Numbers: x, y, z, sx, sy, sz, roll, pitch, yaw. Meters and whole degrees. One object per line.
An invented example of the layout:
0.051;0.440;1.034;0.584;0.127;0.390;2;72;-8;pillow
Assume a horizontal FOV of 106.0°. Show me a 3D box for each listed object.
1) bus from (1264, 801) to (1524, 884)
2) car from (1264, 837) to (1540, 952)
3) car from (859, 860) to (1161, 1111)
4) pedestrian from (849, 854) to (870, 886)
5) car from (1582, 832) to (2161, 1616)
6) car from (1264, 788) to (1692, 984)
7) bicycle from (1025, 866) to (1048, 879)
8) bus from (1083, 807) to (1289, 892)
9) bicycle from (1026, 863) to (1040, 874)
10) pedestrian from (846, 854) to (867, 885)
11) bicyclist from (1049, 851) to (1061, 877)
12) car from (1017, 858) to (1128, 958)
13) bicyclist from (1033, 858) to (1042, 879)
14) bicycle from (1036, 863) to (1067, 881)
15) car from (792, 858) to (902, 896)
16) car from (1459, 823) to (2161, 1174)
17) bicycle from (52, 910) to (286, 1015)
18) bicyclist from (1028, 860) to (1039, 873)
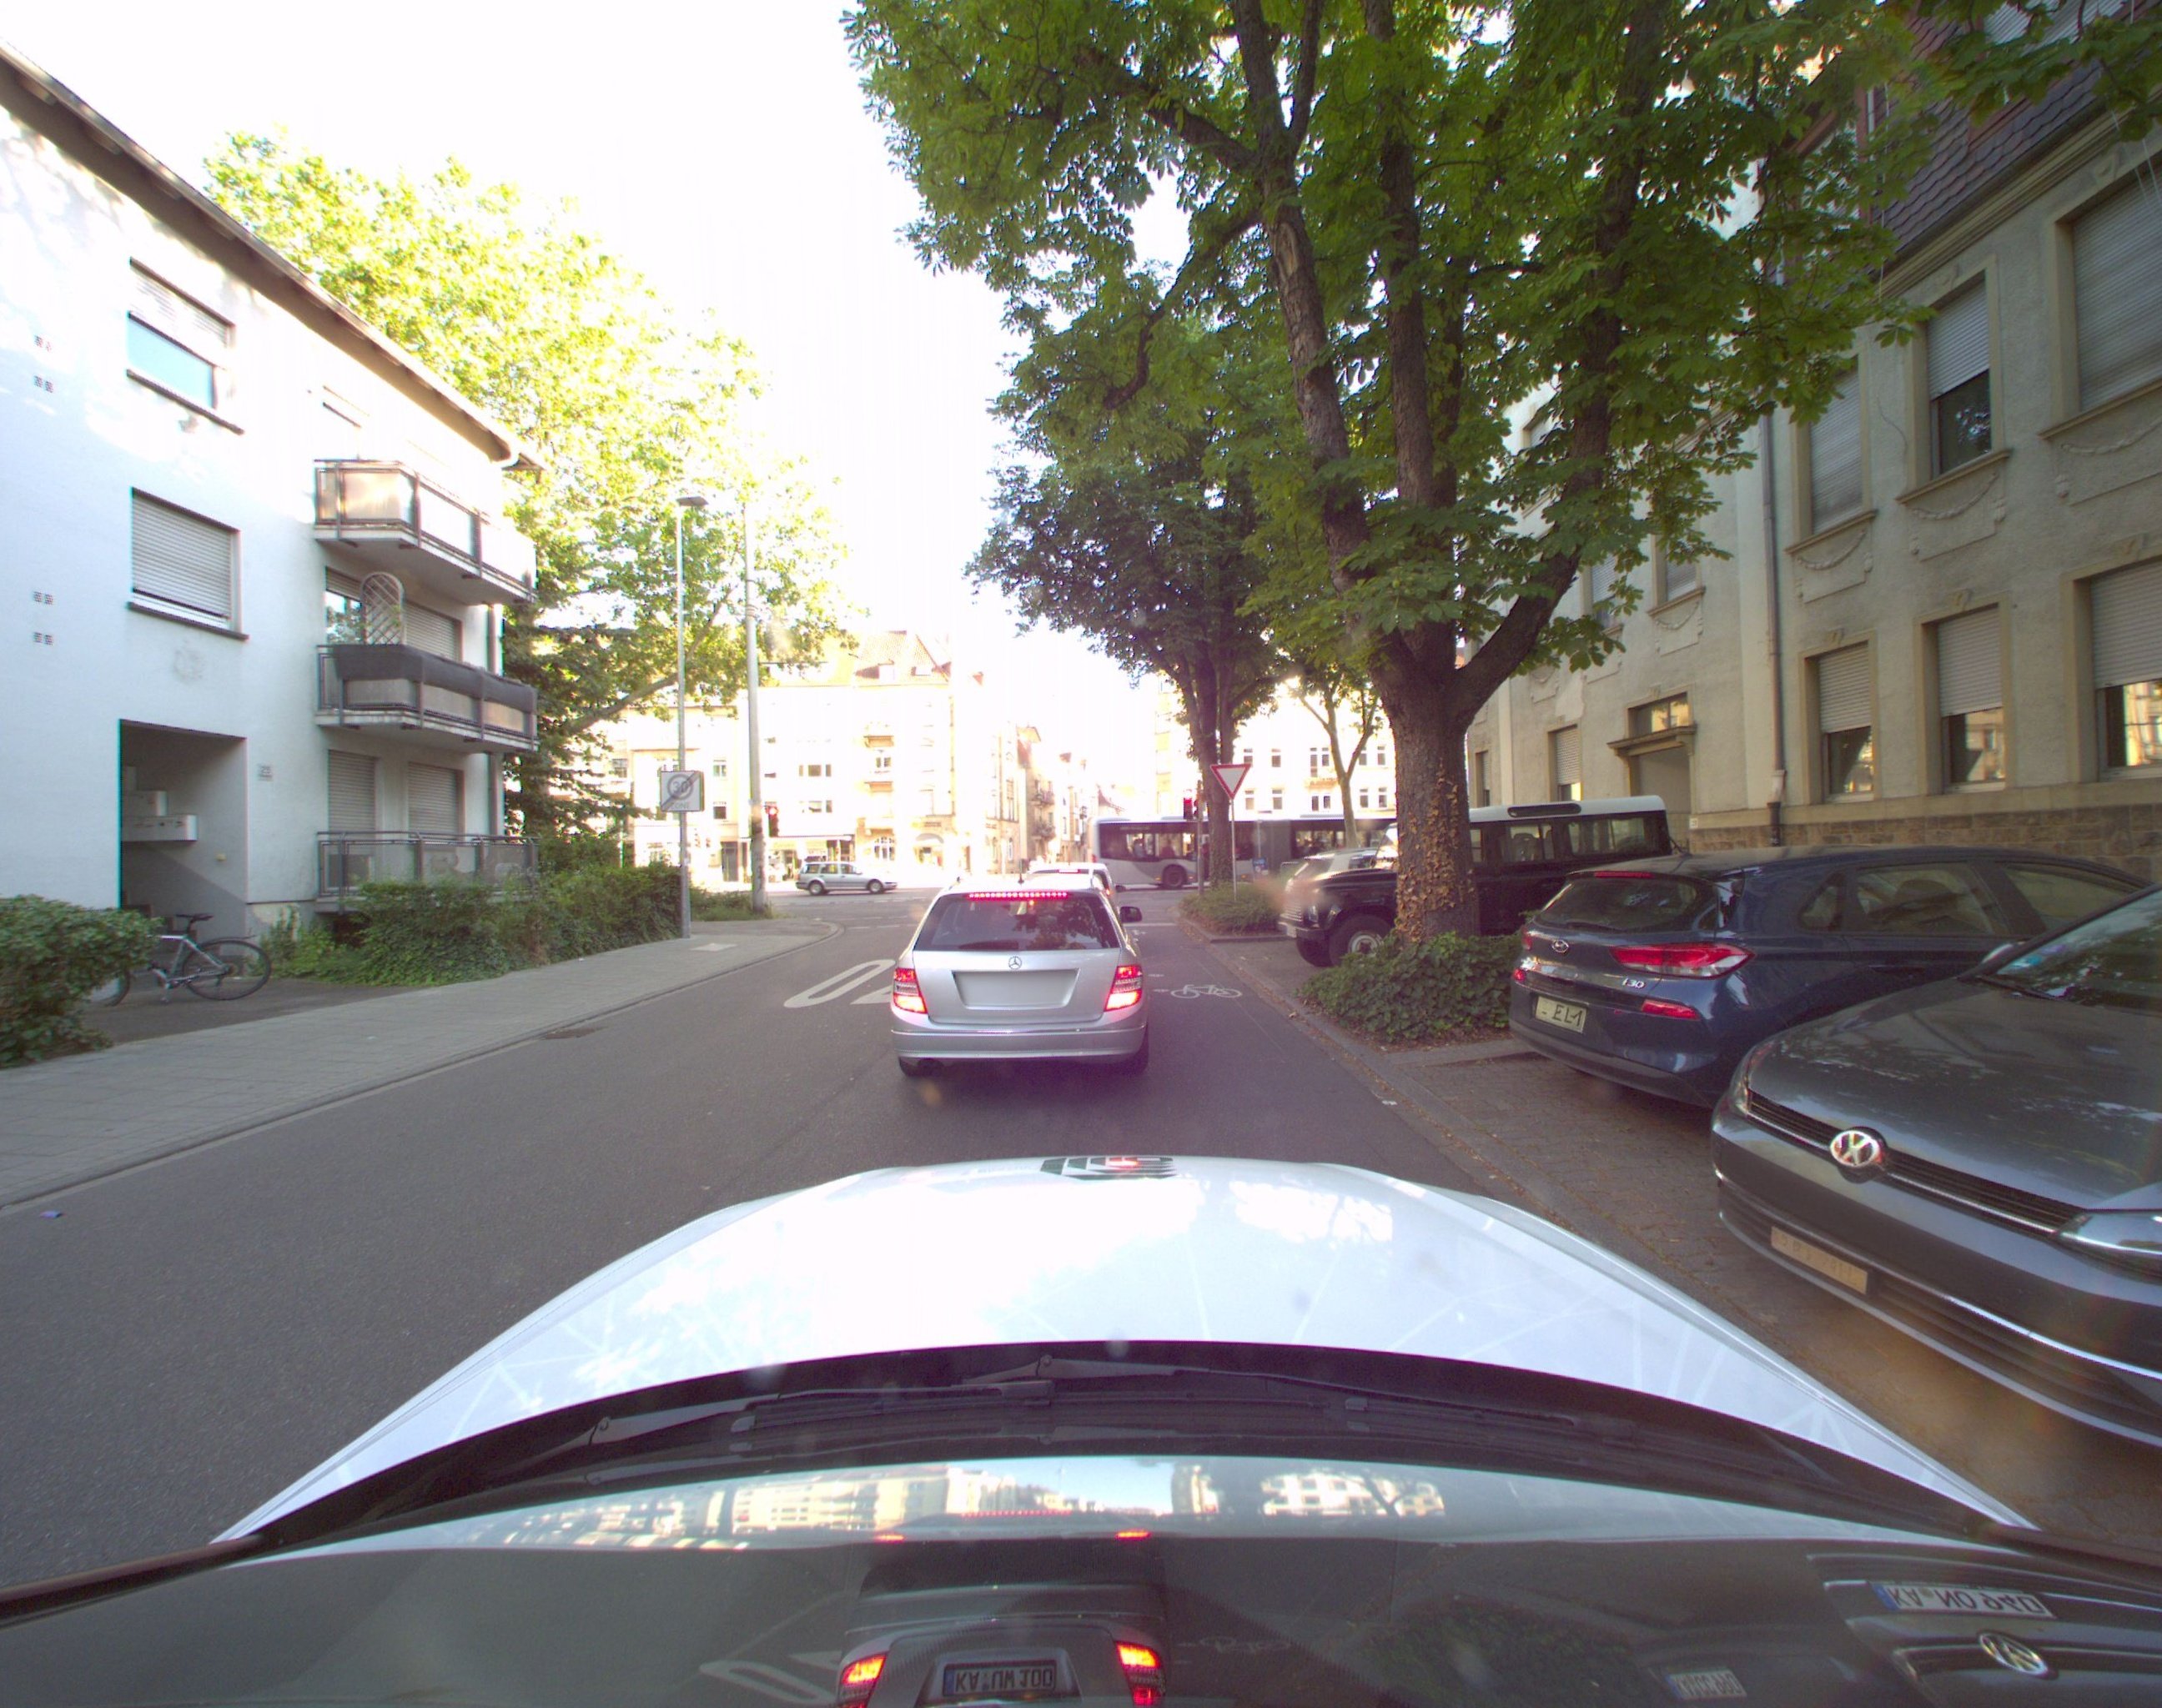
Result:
13.552;-0.509;35.609;10.440;3.201;2.905;-2;0;-7;bus
5.026;0.612;13.101;3.714;1.570;1.707;-3;-1;-2;car
-0.407;0.791;7.095;1.771;1.452;4.547;-1;0;0;car
-17.580;1.258;64.680;1.343;2.464;1.059;-1;0;-3;pedestrian
4.028;0.645;2.396;4.042;1.452;1.722;-3;-1;-2;car
4.737;0.362;10.142;4.453;2.036;1.700;-3;-1;-2;car
-3.190;1.291;58.229;1.613;0.876;0.636;-1;0;-4;bicycle
4.315;-0.214;34.508;8.166;3.201;2.905;-2;0;-7;bus
-4.327;1.325;73.659;0.765;0.940;1.947;-1;0;13;bicycle
-18.132;1.277;65.749;1.343;2.464;1.059;-1;0;-3;pedestrian
-1.953;0.753;61.068;0.889;1.859;0.636;-1;0;-3;bicyclist
-0.112;0.807;14.184;1.614;1.447;4.344;-1;0;0;car
-3.105;1.028;58.242;0.642;1.426;0.636;-1;0;-3;bicyclist
-2.192;1.333;61.053;2.251;1.246;0.636;-1;0;-3;bicycle
-10.151;0.970;35.573;4.338;1.497;1.658;-1;0;-5;car
4.393;0.629;4.568;3.714;1.452;1.707;-3;-1;-2;car
-9.999;1.157;9.020;1.630;1.008;0.511;2;-2;-39;bicycle
-4.310;1.103;73.738;0.765;1.156;0.755;-1;0;13;bicyclist
